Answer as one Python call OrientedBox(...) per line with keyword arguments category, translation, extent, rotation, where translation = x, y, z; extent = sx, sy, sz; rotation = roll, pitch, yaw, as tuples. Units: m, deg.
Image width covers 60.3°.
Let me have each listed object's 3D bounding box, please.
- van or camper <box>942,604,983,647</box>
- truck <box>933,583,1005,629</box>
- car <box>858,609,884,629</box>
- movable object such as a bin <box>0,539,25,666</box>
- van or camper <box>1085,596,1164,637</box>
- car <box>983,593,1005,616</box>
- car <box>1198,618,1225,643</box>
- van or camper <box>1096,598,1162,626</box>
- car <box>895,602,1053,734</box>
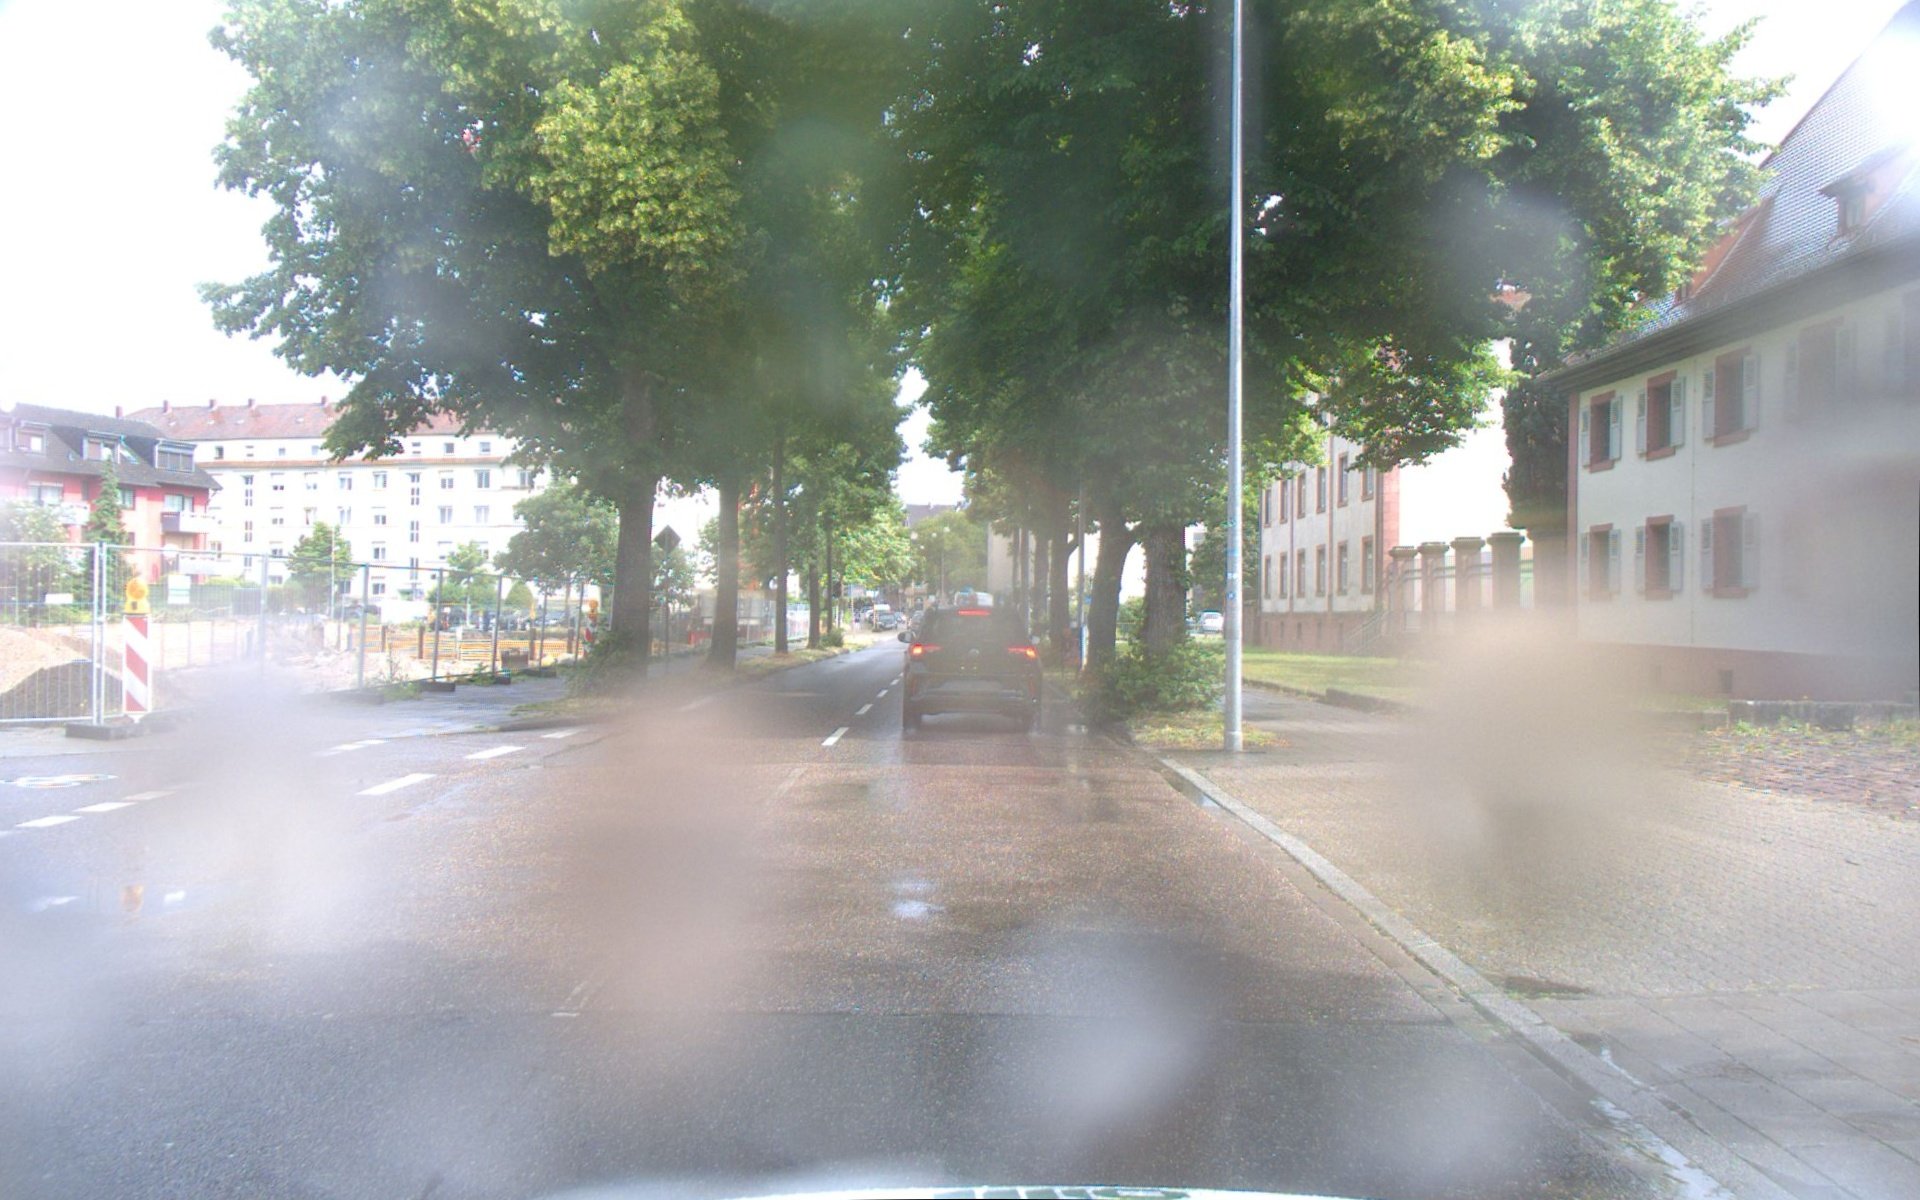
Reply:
OrientedBox(category="van or camper", translation=(0.149, 1.197, 79.080), extent=(1.782, 1.982, 4.195), rotation=(1, 0, 1))
OrientedBox(category="truck", translation=(0.472, 0.326, 104.489), extent=(2.756, 2.703, 8.215), rotation=(1, 0, -12))
OrientedBox(category="car", translation=(-7.178, 1.503, 133.638), extent=(1.557, 1.538, 3.734), rotation=(-2, 0, 6))
OrientedBox(category="movable object such as a bin", translation=(-52.458, 0.022, 75.065), extent=(6.731, 6.150, 16.738), rotation=(1, 0, 24))
OrientedBox(category="van or camper", translation=(10.686, 1.047, 107.754), extent=(4.930, 2.641, 2.167), rotation=(0, -1, -1))
OrientedBox(category="car", translation=(3.147, 0.401, 153.317), extent=(1.952, 2.049, 4.000), rotation=(0, -2, 1))
OrientedBox(category="car", translation=(18.355, 2.196, 120.853), extent=(1.706, 1.713, 3.873), rotation=(-2, -1, 6))
OrientedBox(category="van or camper", translation=(12.744, 0.910, 125.146), extent=(4.774, 1.959, 2.131), rotation=(1, 0, 0))
OrientedBox(category="car", translation=(0.185, 0.831, 21.830), extent=(1.856, 1.549, 4.000), rotation=(1, -1, 0))
